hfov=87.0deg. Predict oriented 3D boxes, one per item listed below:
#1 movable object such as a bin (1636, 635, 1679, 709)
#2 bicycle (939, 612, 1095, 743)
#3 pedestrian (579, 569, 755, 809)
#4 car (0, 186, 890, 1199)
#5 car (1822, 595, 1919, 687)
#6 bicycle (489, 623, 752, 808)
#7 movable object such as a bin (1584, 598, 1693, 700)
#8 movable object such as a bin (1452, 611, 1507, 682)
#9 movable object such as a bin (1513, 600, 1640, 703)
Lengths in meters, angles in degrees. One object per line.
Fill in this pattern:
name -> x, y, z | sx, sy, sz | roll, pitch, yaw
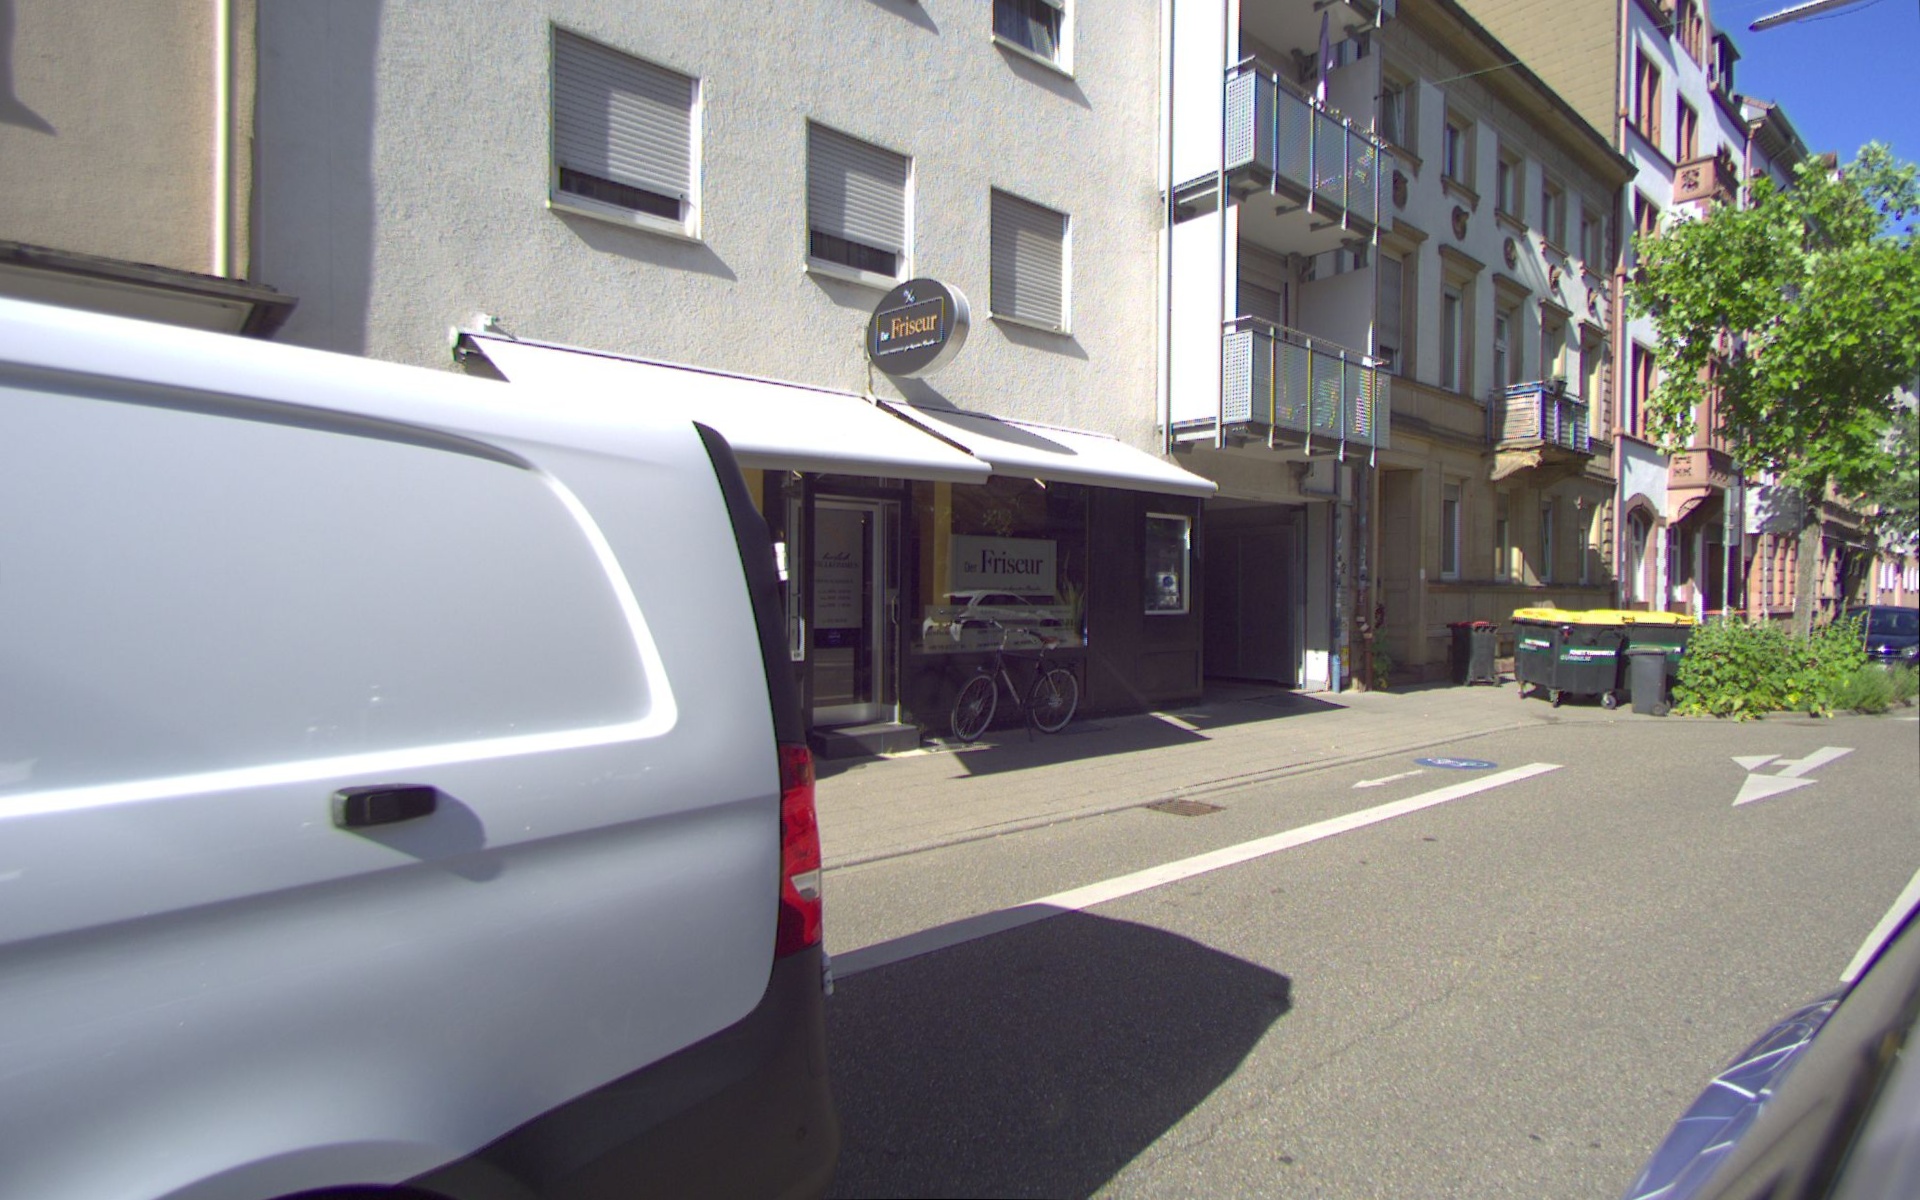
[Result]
movable object such as a bin -> 9.571, 0.978, 13.892 | 0.399, 0.933, 0.478 | 3, 3, 41
bicycle -> 0.603, 0.726, 10.107 | 1.760, 1.193, 0.402 | 0, 0, -41
pedestrian -> -2.128, 0.584, 7.336 | 0.930, 1.556, 0.825 | 0, 4, -41
car -> -2.520, 0.508, 0.837 | 4.914, 1.892, 1.837 | 0, 1, -44
car -> 16.836, 0.679, 18.220 | 3.293, 1.510, 1.550 | 0, 1, -41
bicycle -> -2.402, 0.772, 7.323 | 1.760, 1.146, 0.402 | 0, 4, -41
movable object such as a bin -> 9.958, 0.692, 14.906 | 0.943, 1.365, 1.066 | 1, 3, 11
movable object such as a bin -> 8.531, 0.747, 16.628 | 0.557, 1.094, 0.617 | 1, 3, 1
movable object such as a bin -> 8.841, 0.707, 14.582 | 1.030, 1.341, 1.216 | 1, 3, 1
